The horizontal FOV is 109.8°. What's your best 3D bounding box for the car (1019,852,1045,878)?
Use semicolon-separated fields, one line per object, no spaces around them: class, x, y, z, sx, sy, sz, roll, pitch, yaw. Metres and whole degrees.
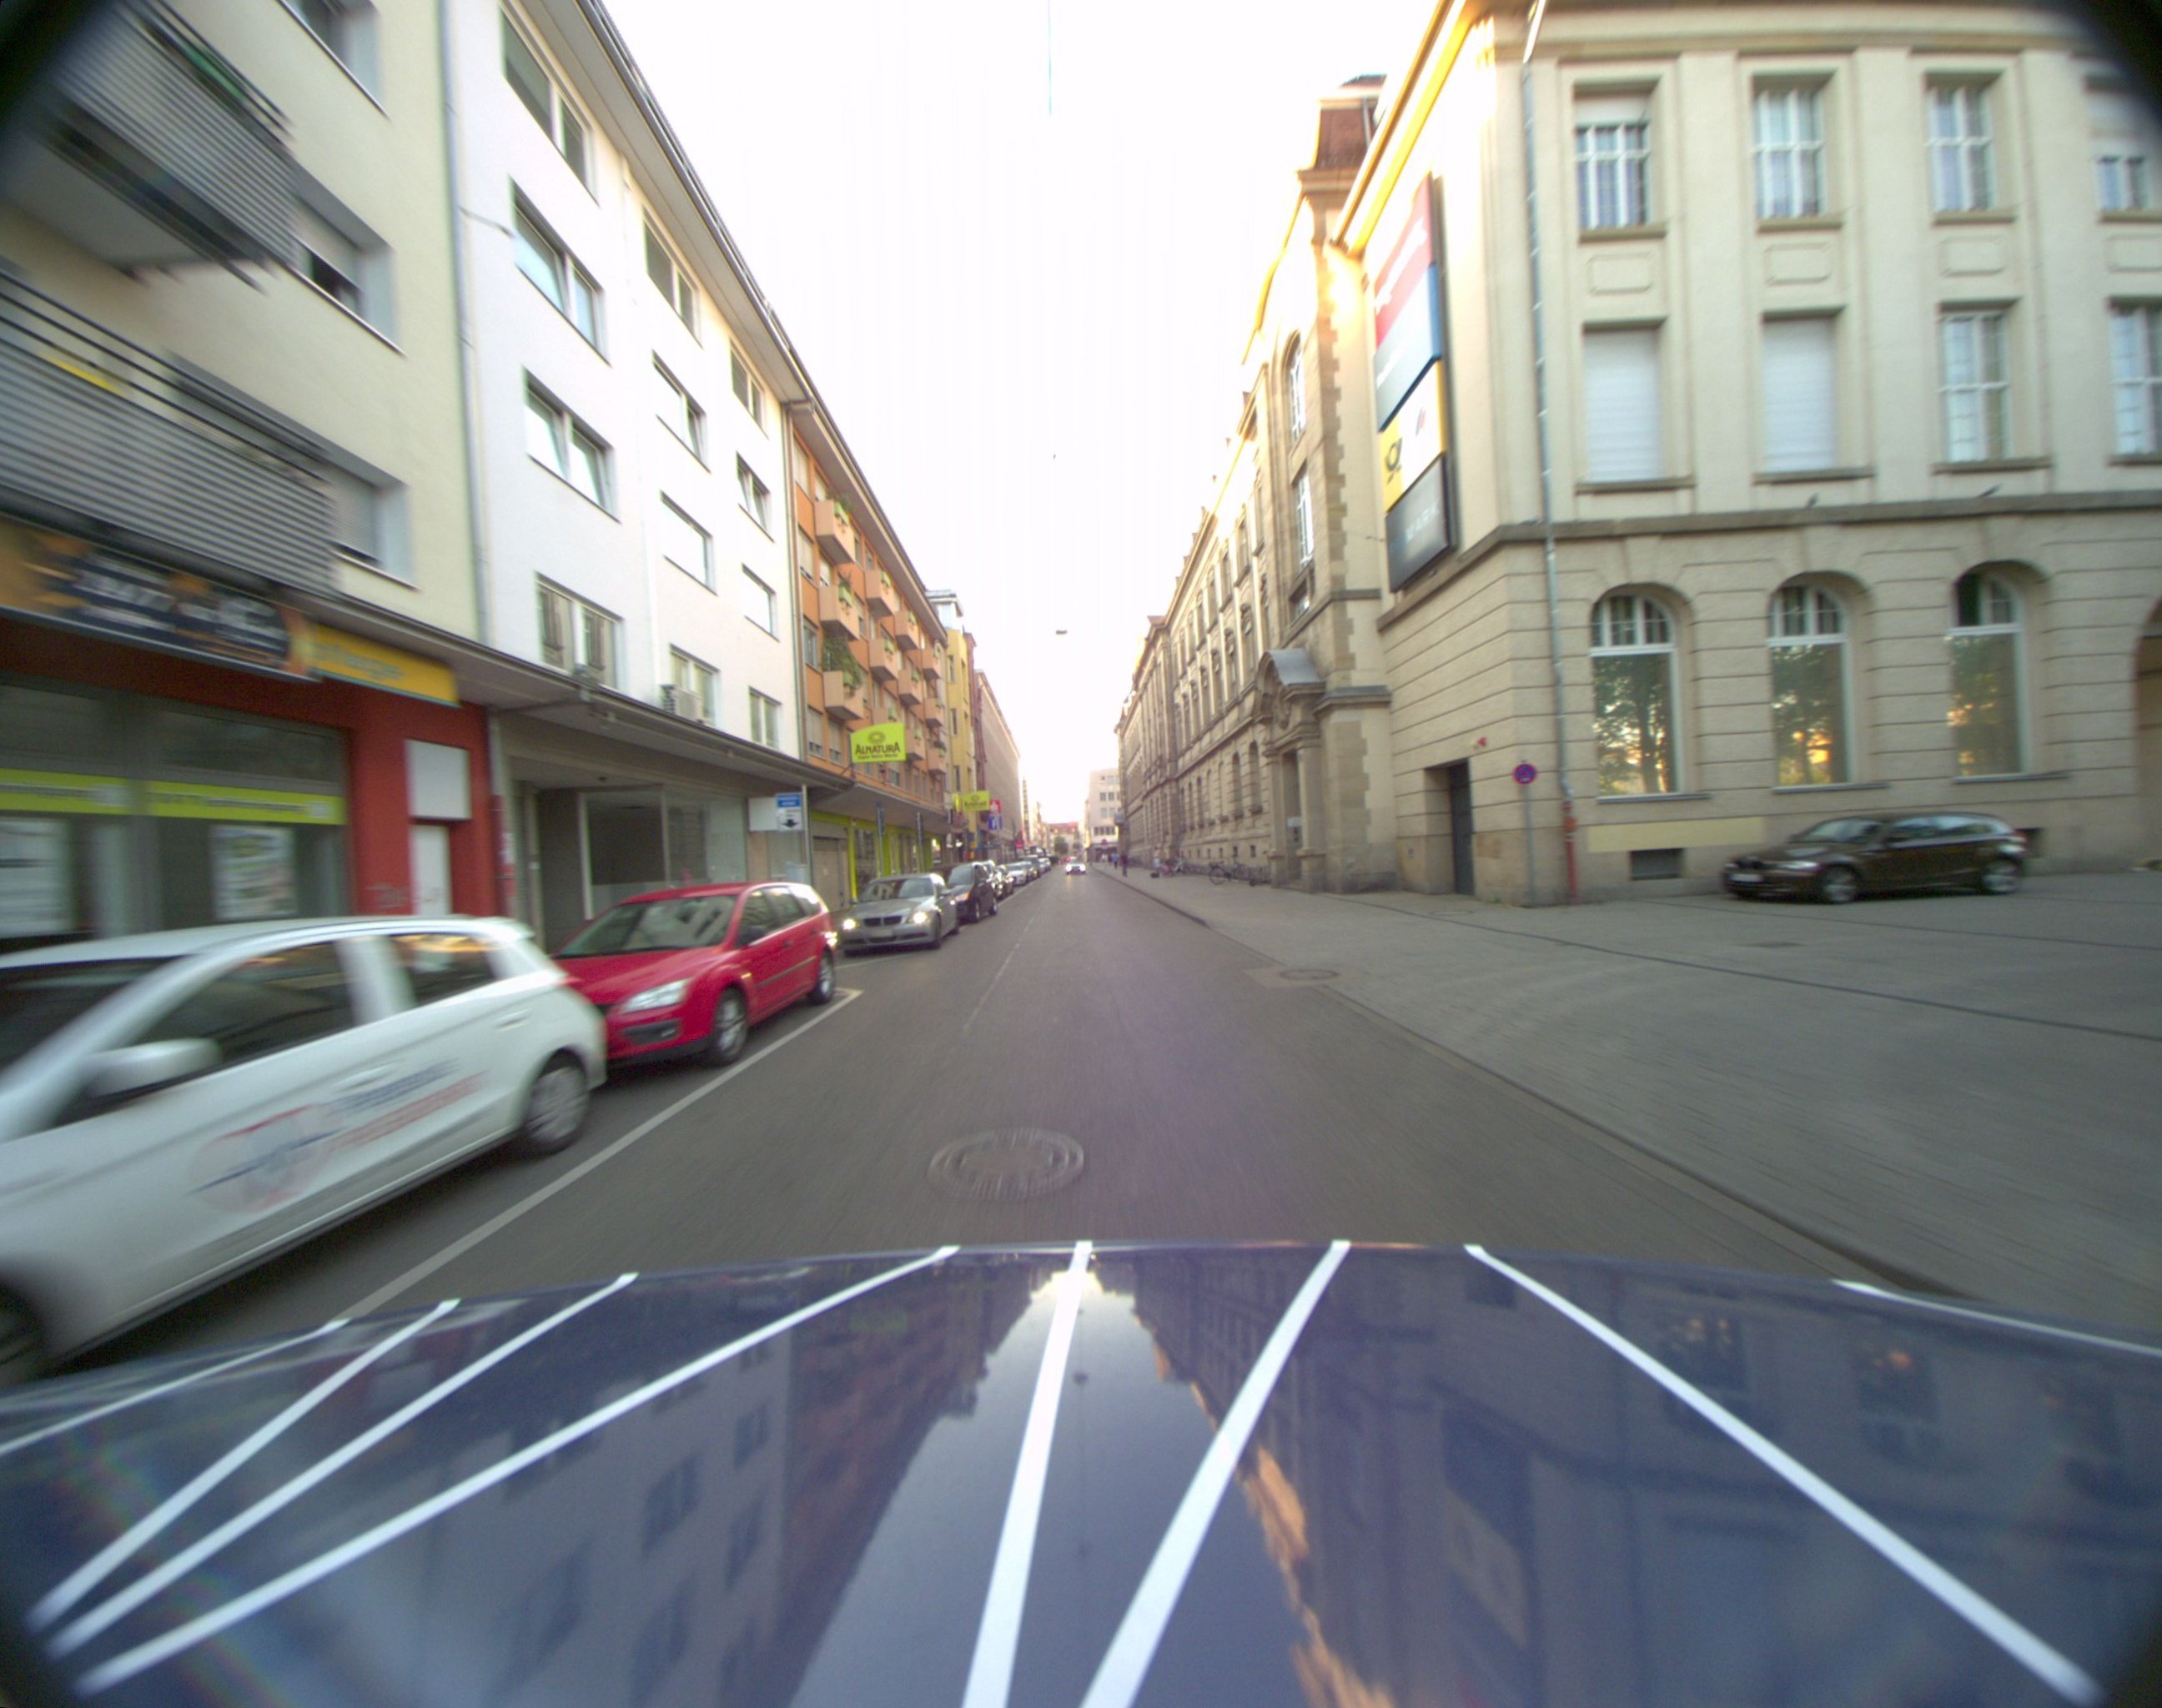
car;-4.194;0.897;65.185;1.851;2.046;5.053;-4;1;-1

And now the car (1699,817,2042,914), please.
car;13.186;0.180;12.867;4.015;1.363;1.750;-2;0;-1

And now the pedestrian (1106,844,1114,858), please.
pedestrian;3.778;-0.335;98.992;0.778;1.778;0.820;-4;0;-3

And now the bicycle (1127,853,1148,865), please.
bicycle;5.646;0.517;75.754;1.942;1.072;0.748;-5;1;-1

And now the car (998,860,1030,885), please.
car;-4.189;1.137;47.813;1.696;1.403;4.638;-5;0;-3

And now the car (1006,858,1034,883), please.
car;-4.224;1.118;52.984;1.622;1.507;4.173;-5;0;-1

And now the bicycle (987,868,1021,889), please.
bicycle;-4.220;1.352;41.811;1.740;1.049;0.658;-4;0;-42

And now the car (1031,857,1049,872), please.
car;-4.451;1.134;82.117;1.661;1.439;4.307;-4;1;-1

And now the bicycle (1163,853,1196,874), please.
bicycle;5.938;0.587;45.813;1.799;1.101;0.500;-4;1;-6

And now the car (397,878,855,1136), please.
car;-3.784;1.110;7.508;1.717;1.503;4.651;-5;0;-2

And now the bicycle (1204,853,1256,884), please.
bicycle;6.089;0.572;31.093;1.944;1.055;0.619;-6;1;-15

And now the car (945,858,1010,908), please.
car;-3.986;1.074;29.993;1.756;1.658;4.756;-5;0;0

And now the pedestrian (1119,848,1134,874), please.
pedestrian;3.130;0.456;52.393;0.811;1.740;0.969;-4;1;0

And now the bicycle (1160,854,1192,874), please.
bicycle;5.879;0.592;47.013;1.799;1.101;0.500;-4;1;-6

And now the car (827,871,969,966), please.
car;-3.483;1.161;15.372;1.741;1.407;4.681;-5;0;-2

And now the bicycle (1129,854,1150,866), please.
bicycle;5.732;0.564;74.836;1.941;1.040;0.721;-4;0;-5

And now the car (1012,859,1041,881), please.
car;-4.140;1.219;58.099;1.691;1.444;4.498;-5;0;1

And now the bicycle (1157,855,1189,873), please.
bicycle;5.959;0.640;49.233;1.943;1.055;0.619;-4;1;-6

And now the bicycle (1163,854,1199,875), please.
bicycle;5.938;0.628;44.999;1.943;1.055;0.619;-4;1;-6

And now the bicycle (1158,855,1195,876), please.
bicycle;5.514;0.675;43.955;1.942;1.055;0.619;-4;1;-2

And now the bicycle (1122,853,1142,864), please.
bicycle;5.629;0.490;83.919;1.943;1.072;0.730;-5;1;-7

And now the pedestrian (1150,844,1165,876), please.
pedestrian;4.599;0.360;45.623;0.589;1.840;0.754;-5;0;-6

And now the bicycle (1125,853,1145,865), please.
bicycle;5.602;0.520;79.106;1.943;1.072;0.730;-5;1;-7

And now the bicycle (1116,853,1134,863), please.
bicycle;5.428;0.487;93.734;2.025;1.102;0.730;-5;1;-7

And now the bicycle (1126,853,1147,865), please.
bicycle;5.694;0.508;77.791;1.943;1.072;0.730;-5;1;-7

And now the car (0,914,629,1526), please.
car;-3.870;1.203;2.974;1.610;1.503;4.048;-5;0;1

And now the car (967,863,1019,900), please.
car;-3.971;1.205;34.962;1.696;1.406;4.756;-5;0;0

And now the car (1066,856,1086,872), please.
car;-0.488;0.942;70.805;1.741;1.407;4.681;0;-1;-2

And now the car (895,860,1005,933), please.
car;-3.427;1.053;20.748;1.798;1.600;4.487;-5;0;4

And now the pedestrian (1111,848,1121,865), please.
pedestrian;3.699;0.275;80.124;0.831;1.735;0.769;-5;0;0

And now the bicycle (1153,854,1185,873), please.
bicycle;5.832;0.633;50.480;1.942;1.055;0.619;-4;1;-1

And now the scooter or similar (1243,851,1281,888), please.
scooter or similar;6.508;0.555;27.307;1.137;1.225;0.496;-4;1;-12

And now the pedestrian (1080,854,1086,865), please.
pedestrian;0.316;0.835;120.381;0.687;1.751;0.799;-2;0;-8

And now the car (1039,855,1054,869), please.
car;-4.522;1.019;99.121;1.781;1.656;4.812;-4;1;-3

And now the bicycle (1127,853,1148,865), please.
bicycle;5.768;0.495;77.020;1.943;1.072;0.730;-5;1;-7

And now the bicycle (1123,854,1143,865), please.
bicycle;5.662;0.601;82.732;1.943;1.072;0.730;-5;1;-7

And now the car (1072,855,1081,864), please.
car;-0.912;1.084;158.477;1.824;1.728;4.000;-2;0;-1
